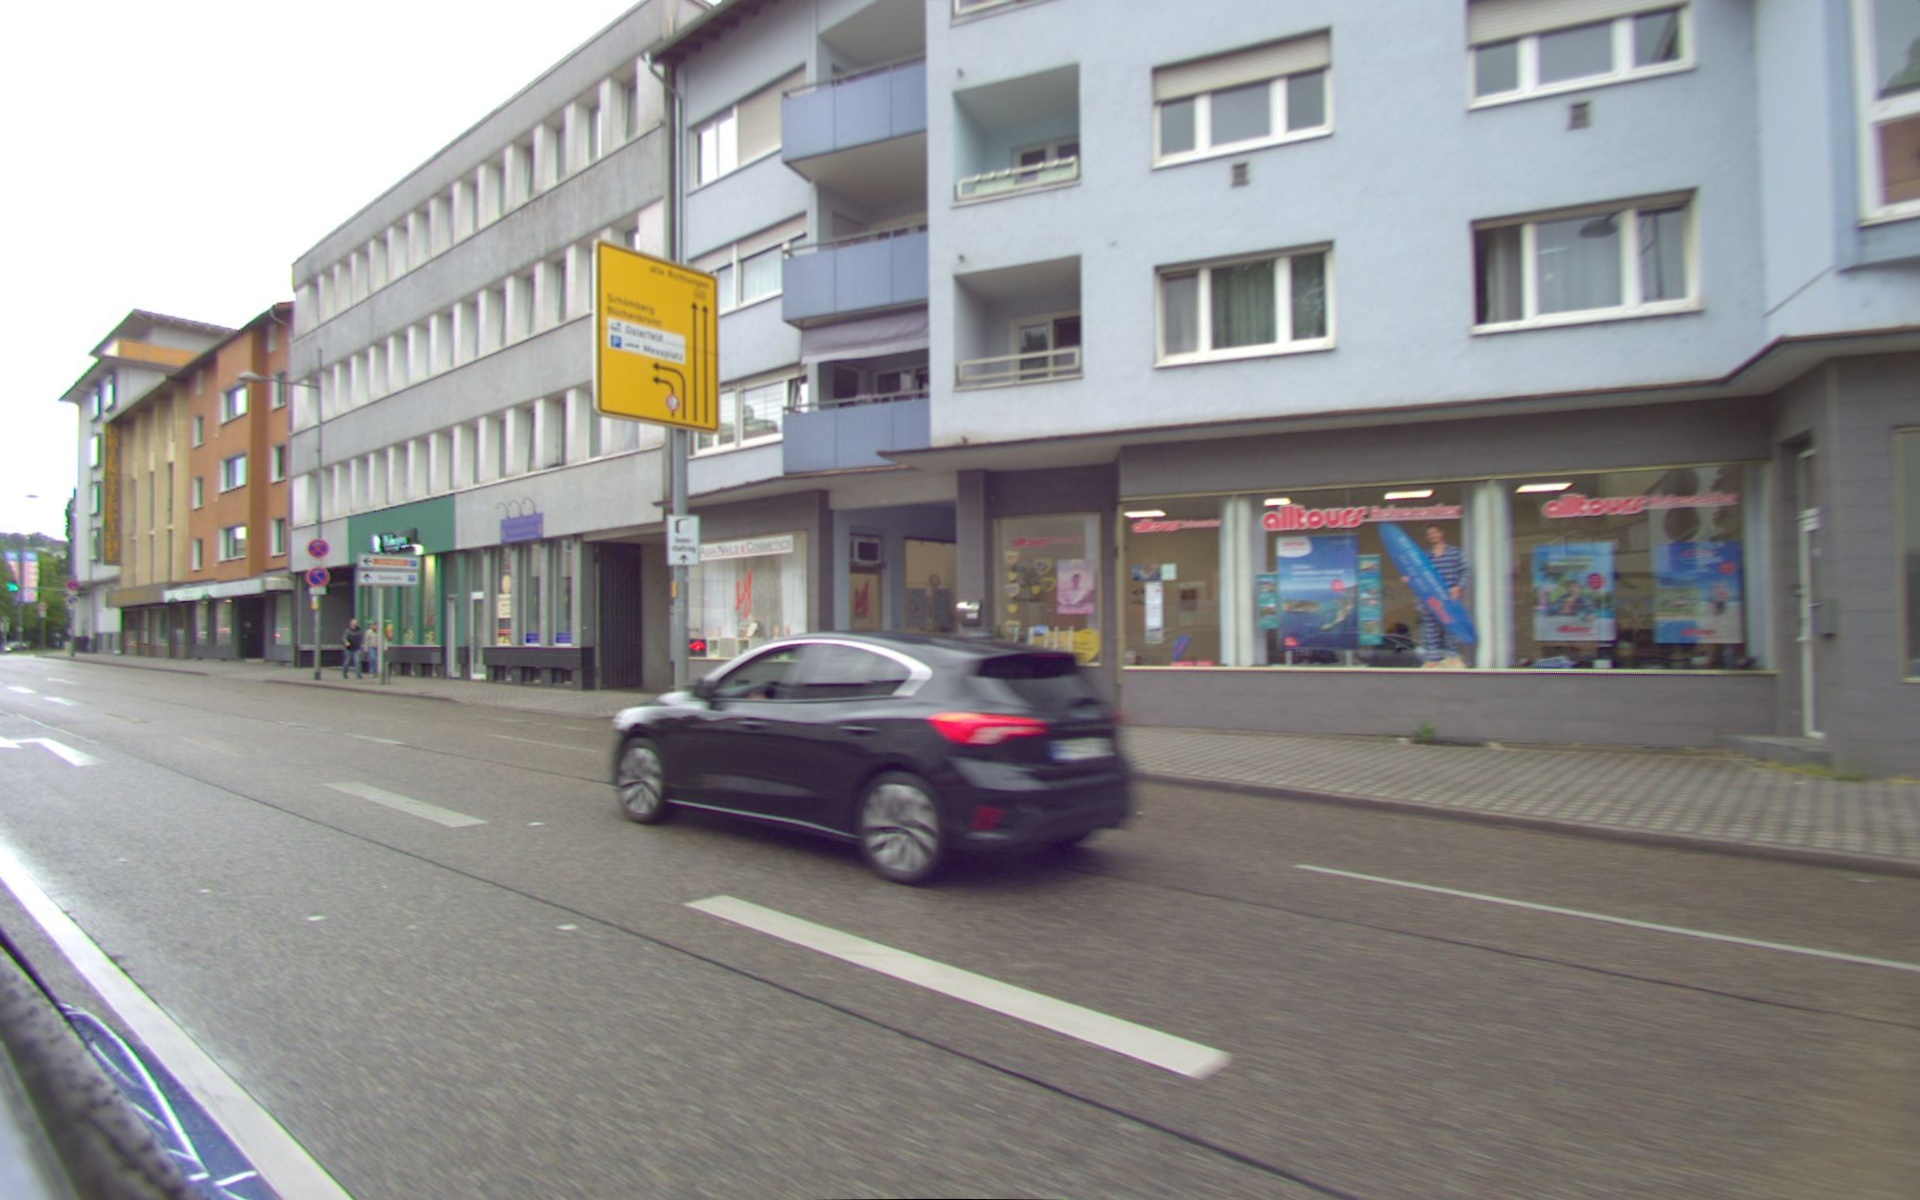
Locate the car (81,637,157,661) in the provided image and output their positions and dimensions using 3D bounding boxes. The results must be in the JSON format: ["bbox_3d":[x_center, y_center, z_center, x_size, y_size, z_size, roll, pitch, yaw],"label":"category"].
[{"bbox_3d":[-58.461,3.421,70.374,1.797,1.431,3.773,0,-4,41],"label":"car"}]

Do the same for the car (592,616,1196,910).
[{"bbox_3d":[-0.656,0.899,6.996,4.163,1.434,1.702,-2,-5,41],"label":"car"}]

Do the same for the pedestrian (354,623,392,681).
[{"bbox_3d":[-17.735,1.567,30.572,0.907,1.688,0.624,-2,2,40],"label":"pedestrian"}]

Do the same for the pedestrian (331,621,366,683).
[{"bbox_3d":[-18.177,1.534,30.063,0.826,1.801,0.569,-2,2,41],"label":"pedestrian"}]
